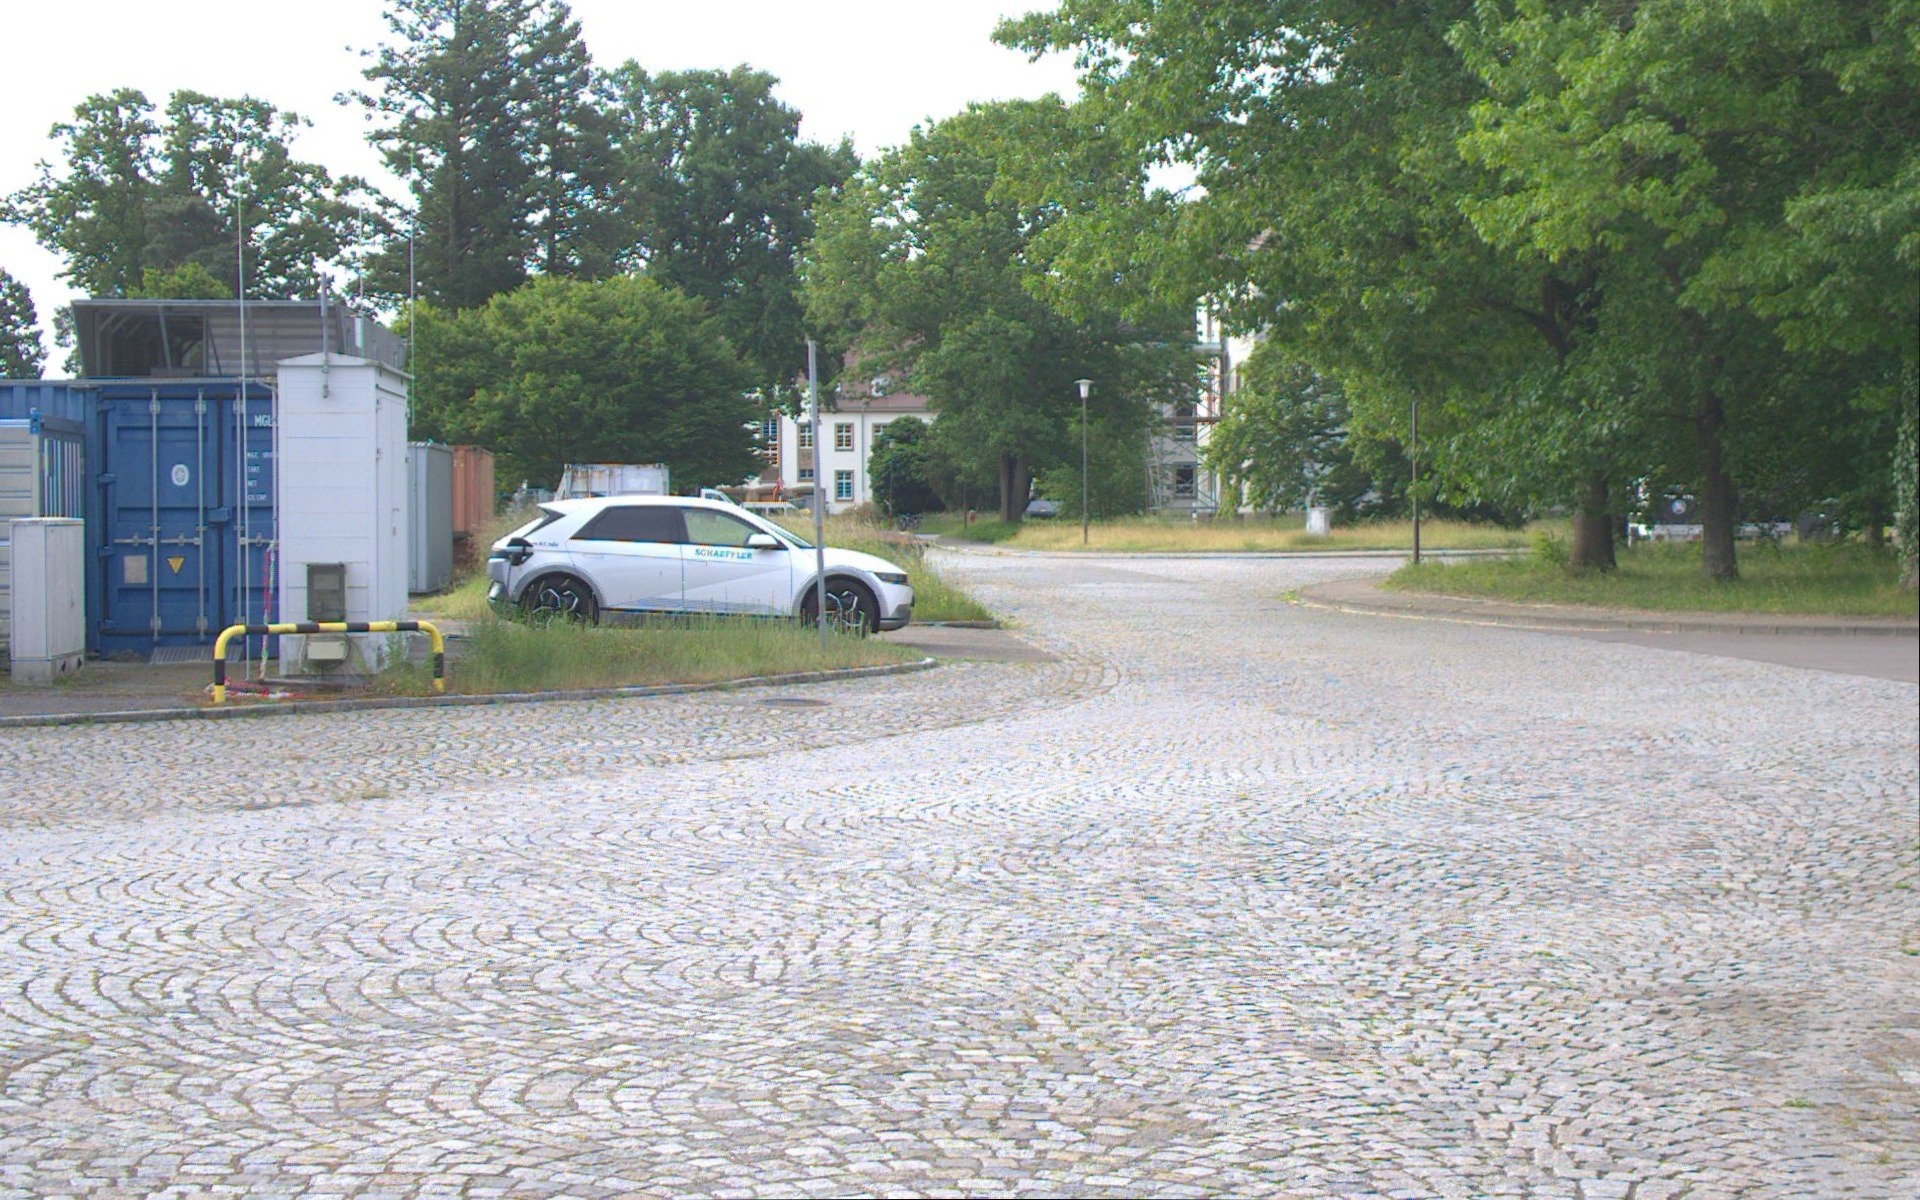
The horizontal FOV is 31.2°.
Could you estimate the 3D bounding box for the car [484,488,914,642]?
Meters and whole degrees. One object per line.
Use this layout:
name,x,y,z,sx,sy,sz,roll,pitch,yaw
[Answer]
car,-2.792,-0.396,37.402,4.534,1.594,2.000,0,2,-2

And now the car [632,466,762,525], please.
car,-10.594,-4.219,138.653,5.169,2.329,2.000,-1,2,-4
